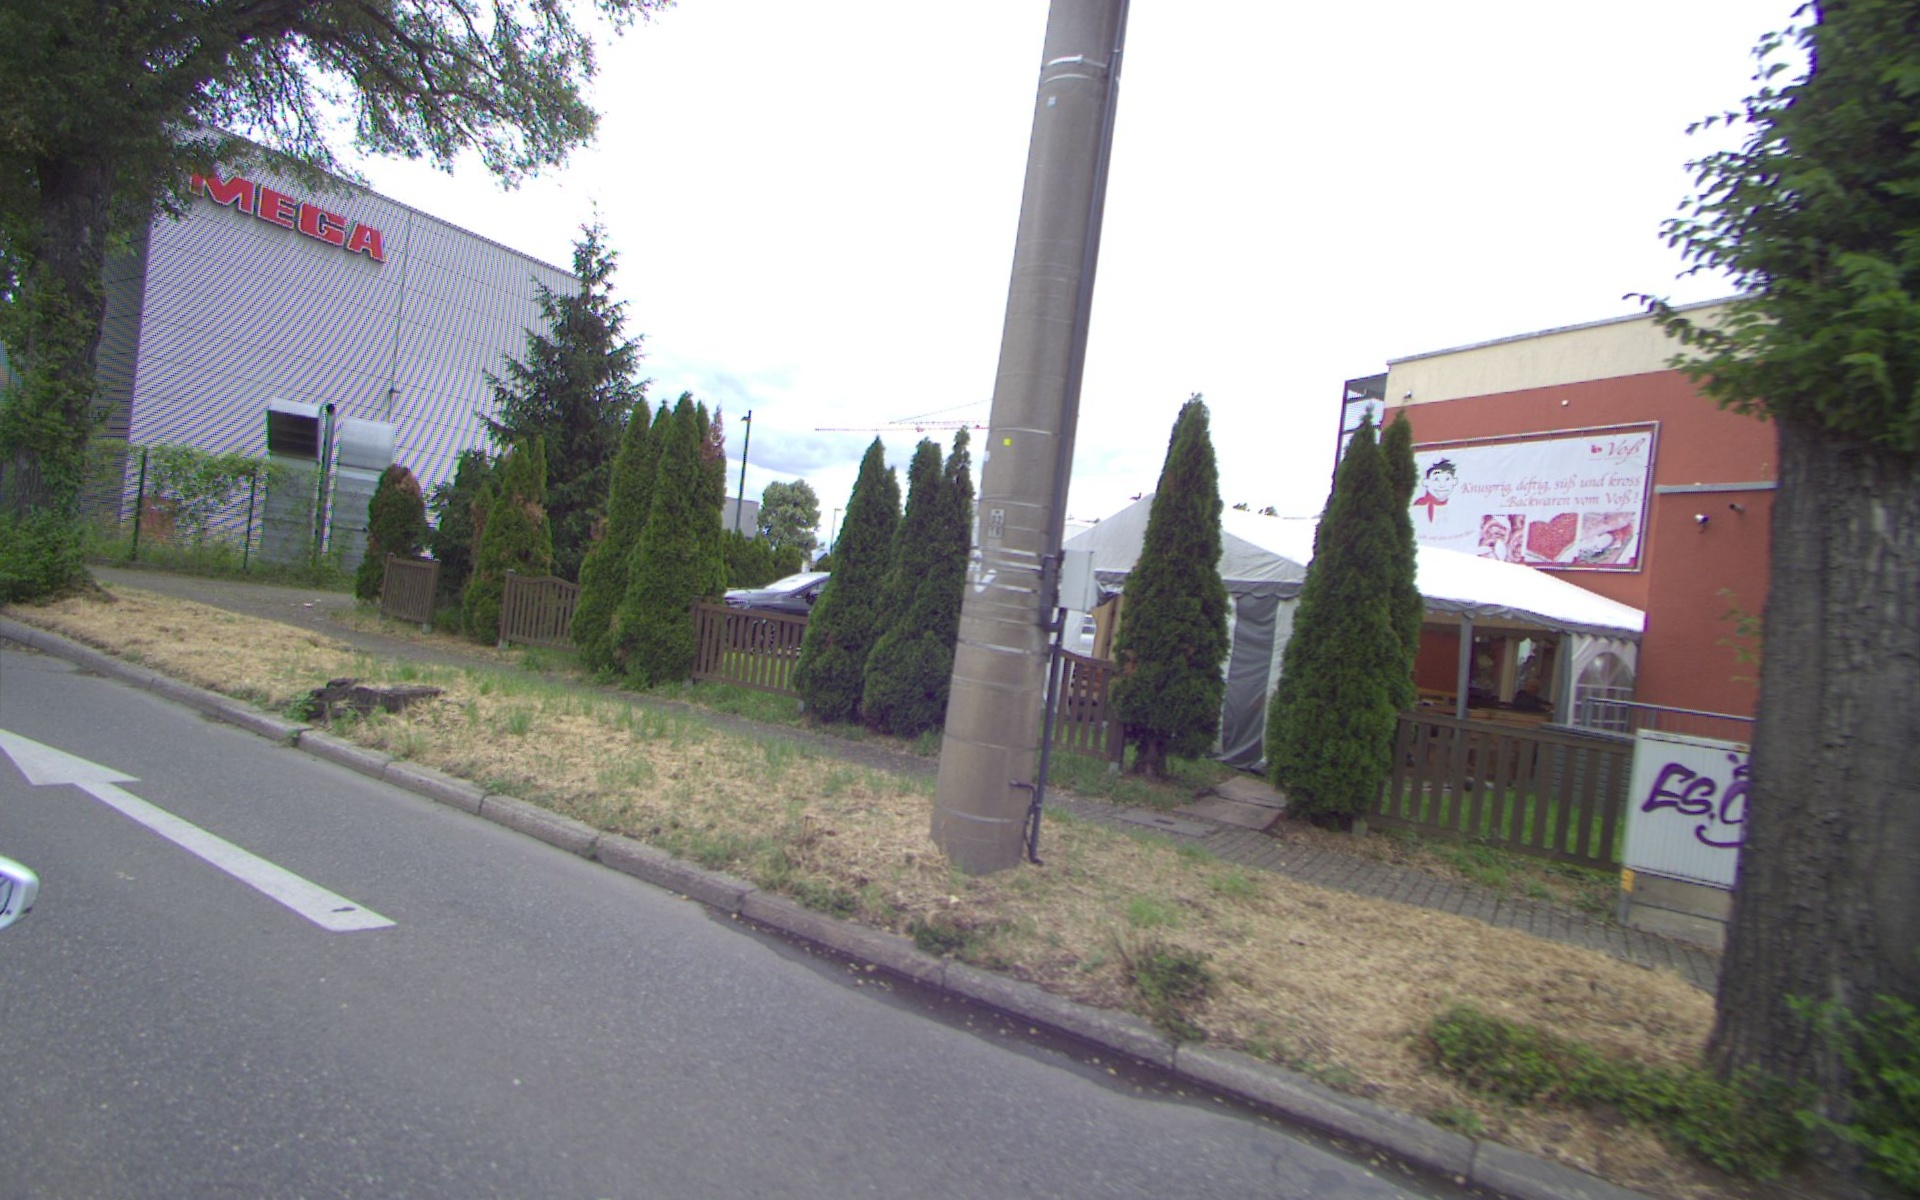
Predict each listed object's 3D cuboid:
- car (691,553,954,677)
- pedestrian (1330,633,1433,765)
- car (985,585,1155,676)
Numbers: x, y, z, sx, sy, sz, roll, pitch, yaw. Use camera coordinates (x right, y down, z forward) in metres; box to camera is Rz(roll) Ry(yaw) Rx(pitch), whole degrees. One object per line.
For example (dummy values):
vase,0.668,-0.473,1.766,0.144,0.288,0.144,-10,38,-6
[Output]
car,-2.498,0.314,18.789,4.340,1.726,1.979,8,-1,-38
pedestrian,5.253,1.223,12.565,0.696,1.508,0.766,7,0,-22
car,2.939,0.811,27.107,3.936,1.860,1.995,7,0,34
